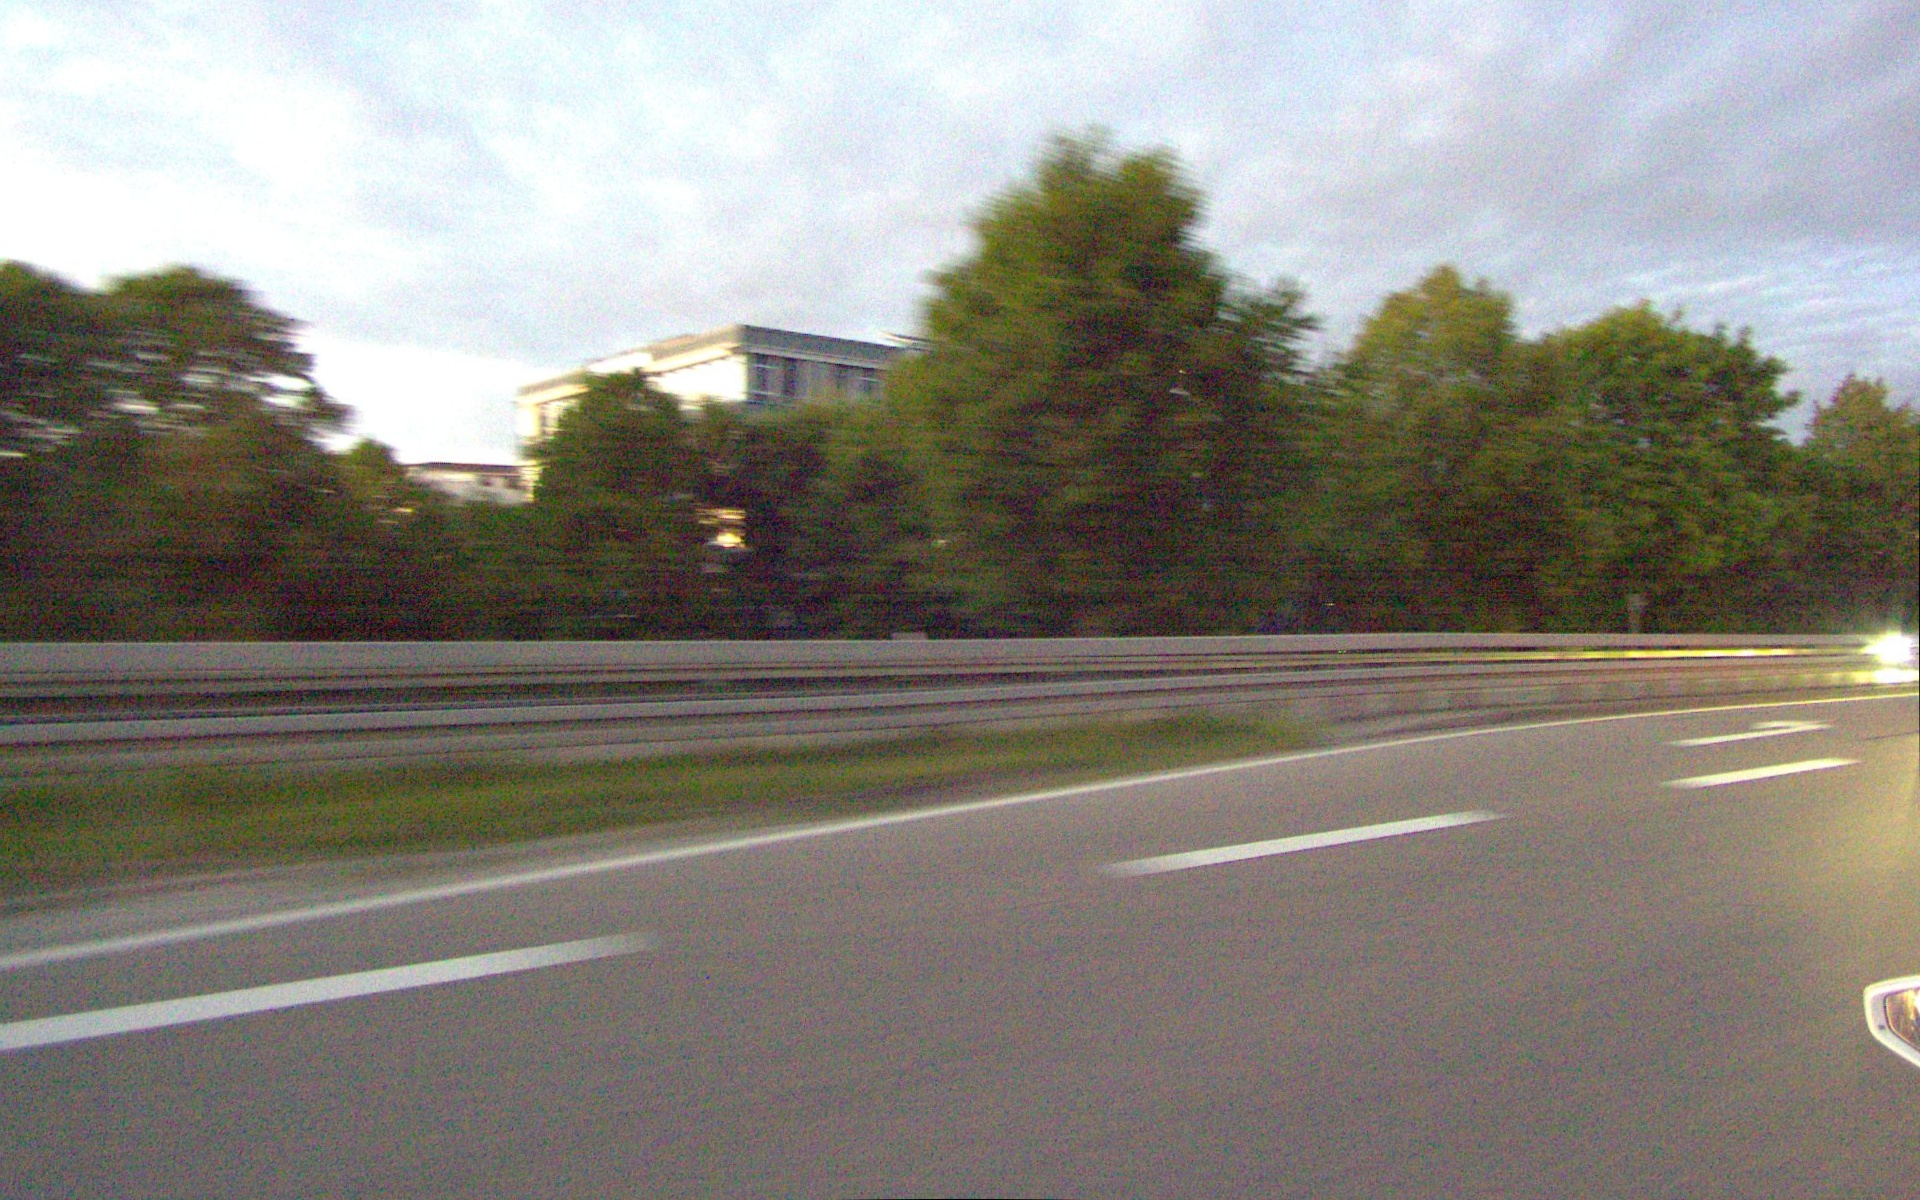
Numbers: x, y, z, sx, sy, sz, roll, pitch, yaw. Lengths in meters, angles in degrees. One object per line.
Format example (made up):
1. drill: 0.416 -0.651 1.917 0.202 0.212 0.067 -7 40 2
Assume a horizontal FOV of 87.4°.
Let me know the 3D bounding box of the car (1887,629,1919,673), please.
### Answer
1. car: 40.011 2.096 41.327 4.266 1.746 1.605 2 0 -31
